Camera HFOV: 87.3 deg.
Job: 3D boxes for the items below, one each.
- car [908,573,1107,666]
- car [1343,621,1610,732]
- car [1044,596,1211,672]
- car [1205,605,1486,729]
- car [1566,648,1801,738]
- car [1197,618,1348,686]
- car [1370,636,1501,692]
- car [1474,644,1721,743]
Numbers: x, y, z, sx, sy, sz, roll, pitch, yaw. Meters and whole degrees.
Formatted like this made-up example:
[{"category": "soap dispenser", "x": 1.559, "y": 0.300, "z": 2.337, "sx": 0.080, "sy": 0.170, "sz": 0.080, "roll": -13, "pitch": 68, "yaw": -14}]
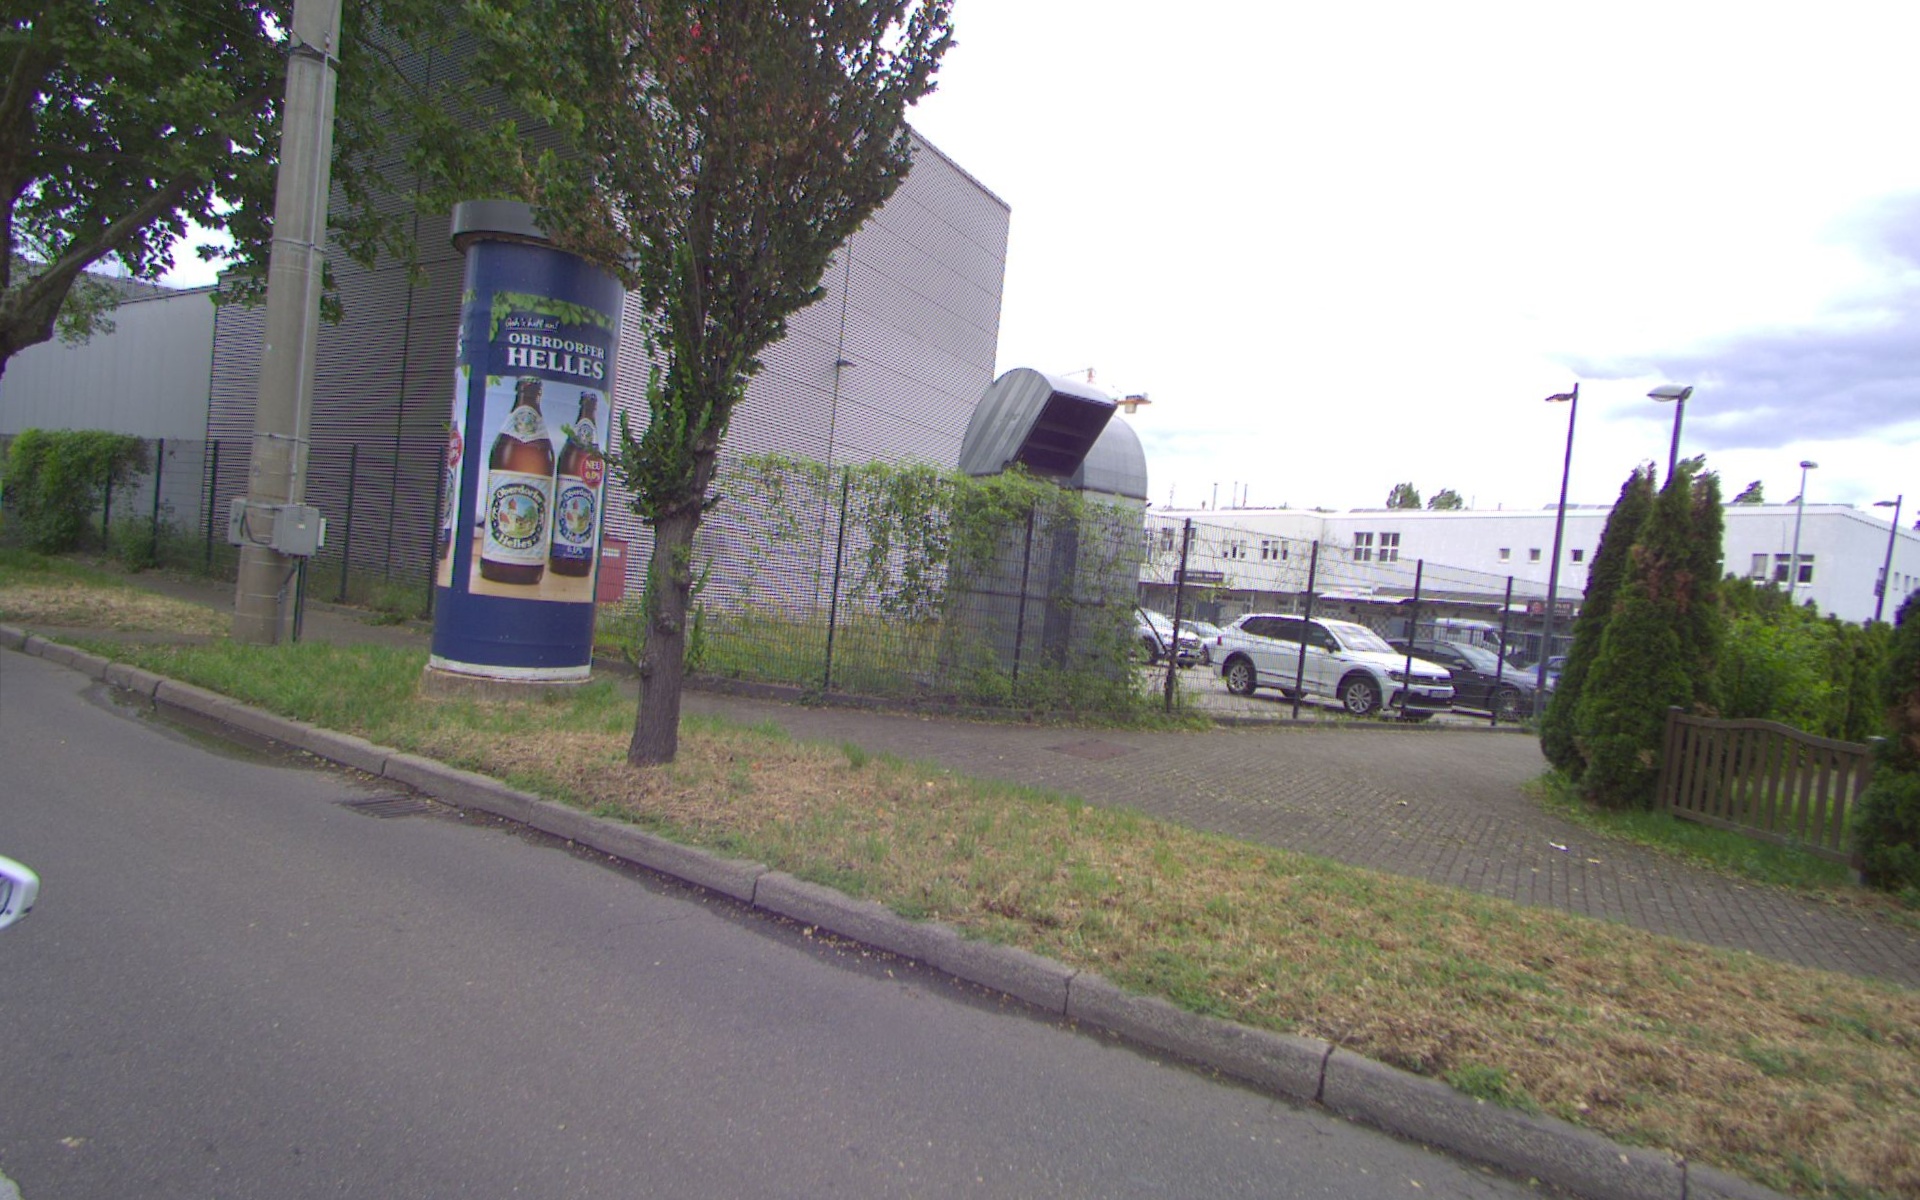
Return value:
[{"category": "car", "x": 1.128, "y": 0.464, "z": 24.223, "sx": 4.197, "sy": 1.668, "sz": 1.999, "roll": 6, "pitch": -2, "yaw": 29}, {"category": "car", "x": 10.620, "y": 1.522, "z": 21.050, "sx": 1.978, "sy": 1.686, "sz": 4.464, "roll": 6, "pitch": 1, "yaw": -31}, {"category": "car", "x": 4.856, "y": 0.955, "z": 29.580, "sx": 4.418, "sy": 1.687, "sz": 1.999, "roll": 6, "pitch": 1, "yaw": -1}, {"category": "car", "x": 6.955, "y": 1.159, "z": 18.645, "sx": 1.978, "sy": 1.686, "sz": 4.464, "roll": 6, "pitch": 1, "yaw": -31}, {"category": "car", "x": 18.758, "y": 2.372, "z": 26.309, "sx": 1.978, "sy": 1.686, "sz": 4.464, "roll": 6, "pitch": 1, "yaw": -31}, {"category": "car", "x": 10.037, "y": 1.643, "z": 32.580, "sx": 1.982, "sy": 1.668, "sz": 4.233, "roll": 8, "pitch": -2, "yaw": -34}, {"category": "car", "x": 19.111, "y": 2.556, "z": 40.566, "sx": 1.982, "sy": 1.668, "sz": 4.233, "roll": 8, "pitch": -2, "yaw": -34}, {"category": "car", "x": 15.089, "y": 2.163, "z": 24.086, "sx": 1.978, "sy": 1.686, "sz": 4.464, "roll": 6, "pitch": 1, "yaw": -31}]
